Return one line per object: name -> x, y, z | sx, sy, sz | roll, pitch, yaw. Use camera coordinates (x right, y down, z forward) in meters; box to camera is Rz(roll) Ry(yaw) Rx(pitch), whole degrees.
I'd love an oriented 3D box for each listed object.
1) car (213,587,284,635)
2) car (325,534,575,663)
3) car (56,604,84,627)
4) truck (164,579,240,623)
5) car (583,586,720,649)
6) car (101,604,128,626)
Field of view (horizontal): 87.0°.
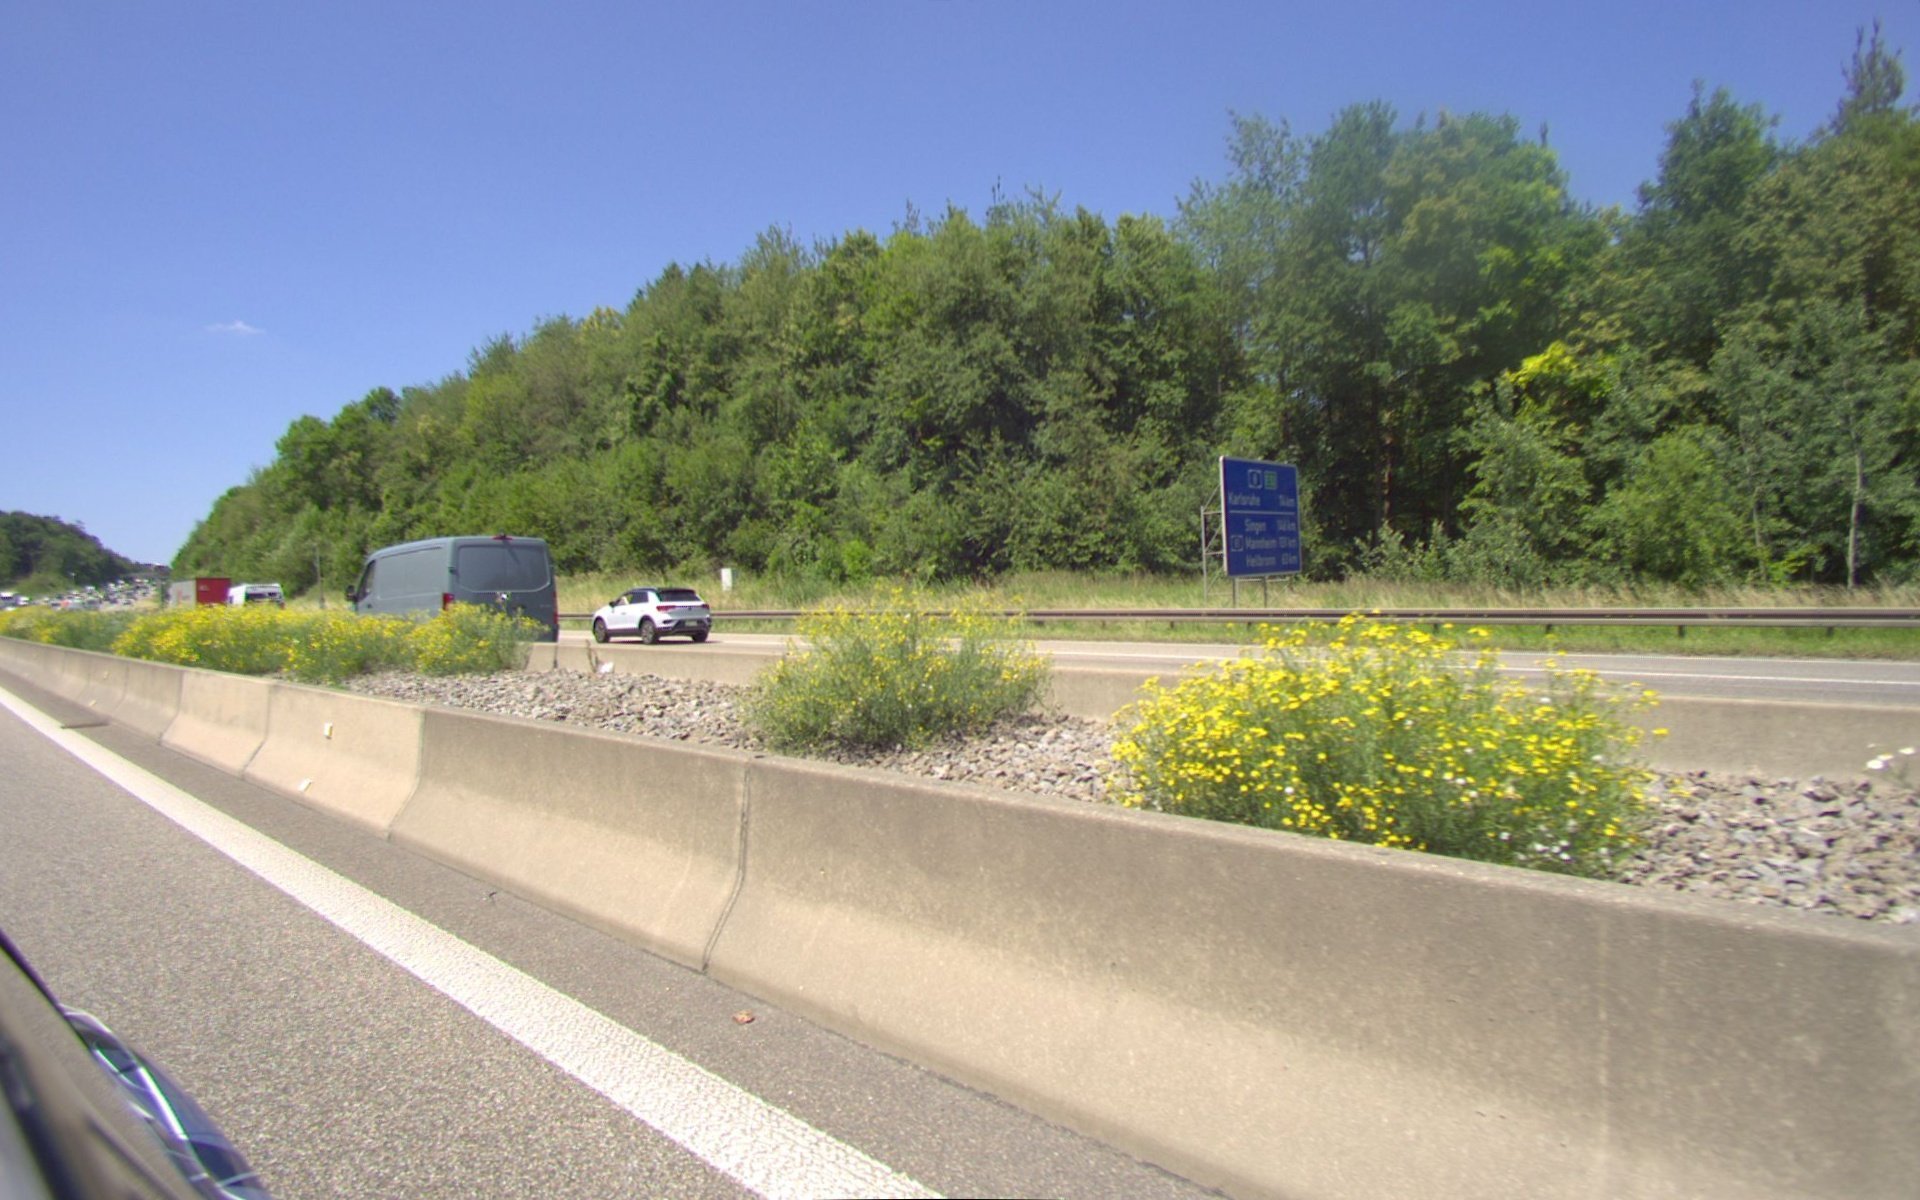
car -> -41.299, 0.610, 58.686 | 5.975, 2.643, 2.133 | -1, 0, 43
car -> -9.693, -0.008, 18.910 | 6.186, 2.029, 2.296 | -1, 0, 45
car -> -99.115, 1.714, 112.685 | 4.002, 2.417, 1.971 | -1, 0, 45
truck -> -70.757, 0.128, 94.256 | 3.875, 3.746, 16.757 | -1, 0, -43
car -> -8.657, 0.458, 28.236 | 4.116, 1.641, 1.757 | -1, 0, 41
car -> -97.141, 1.676, 116.212 | 4.002, 2.417, 1.971 | -1, 0, 45
